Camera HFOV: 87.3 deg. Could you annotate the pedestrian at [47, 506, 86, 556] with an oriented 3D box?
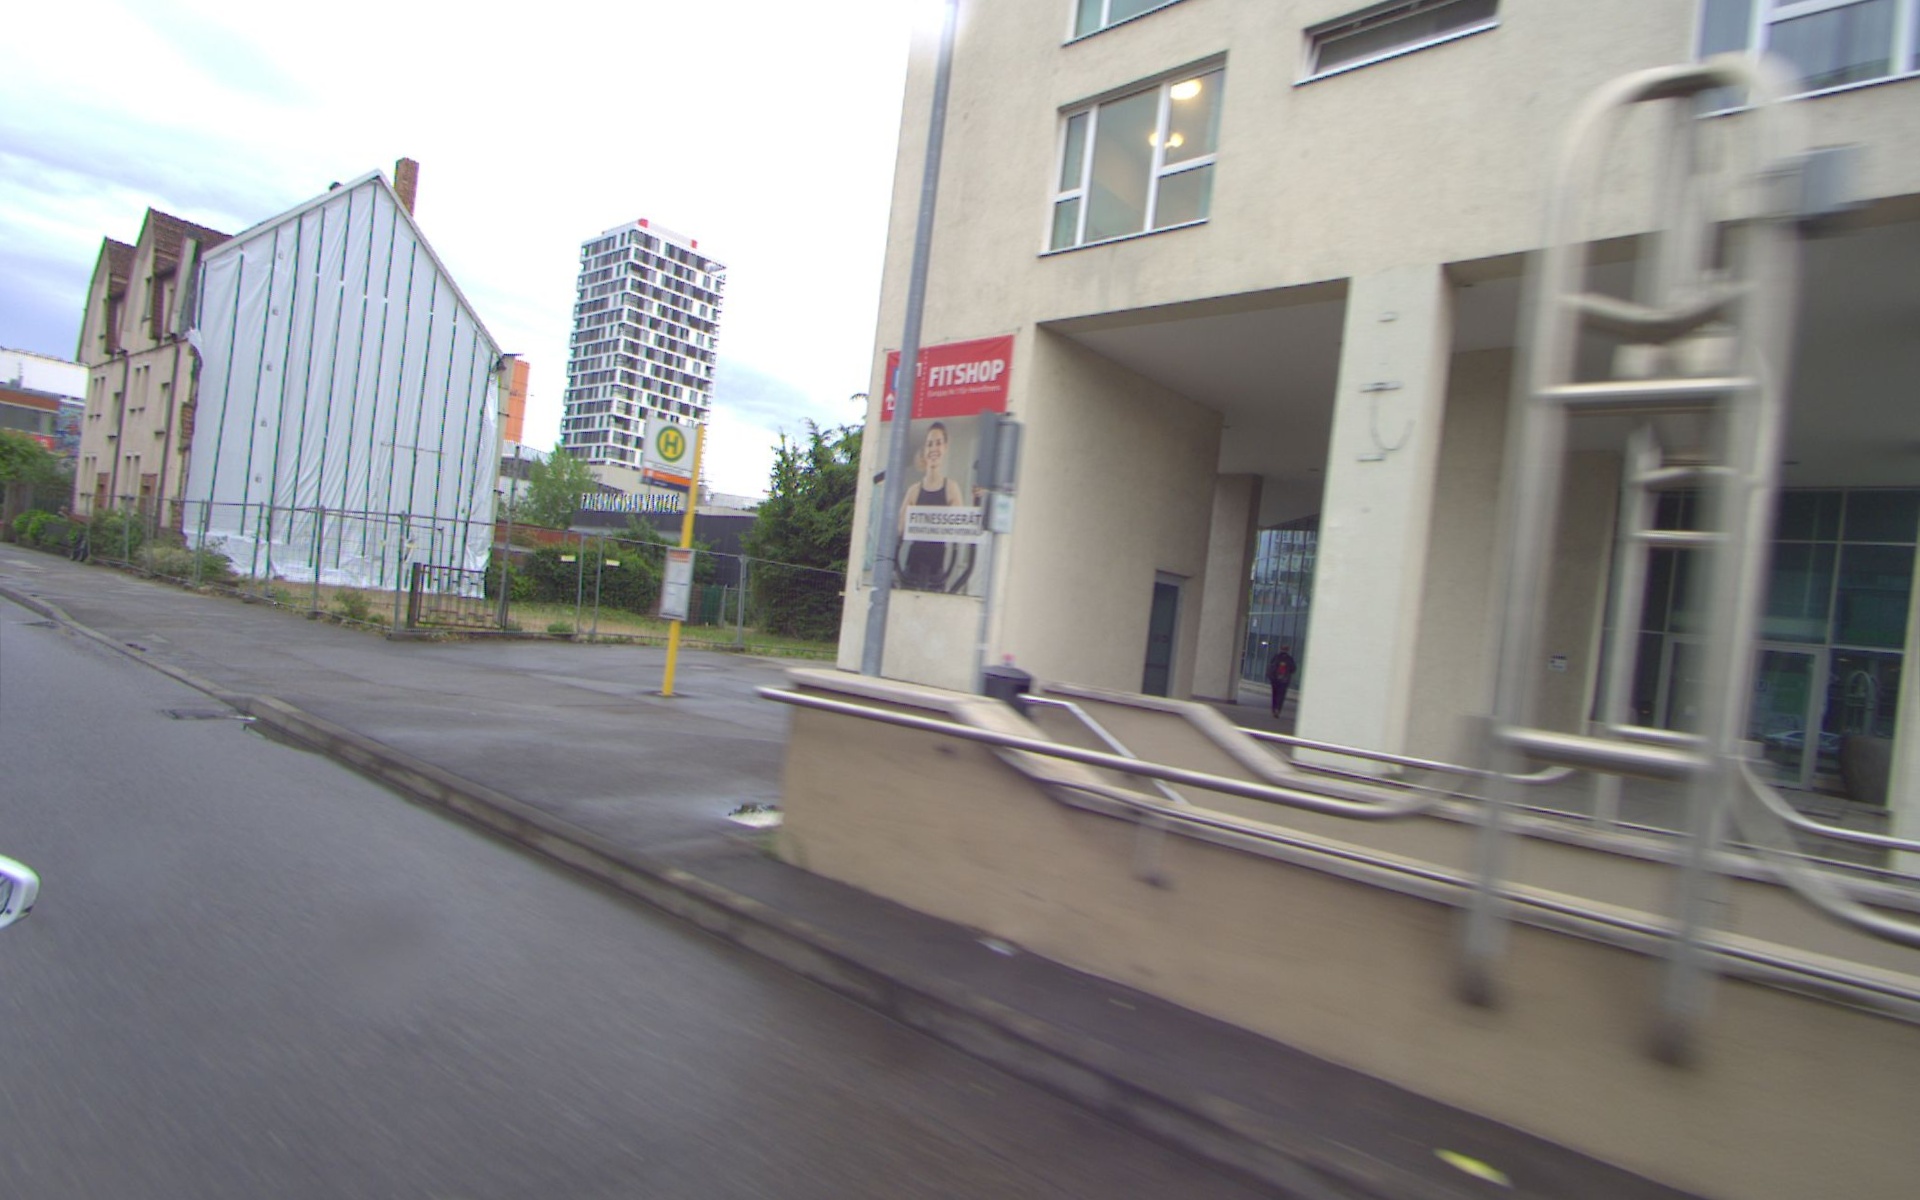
[{"bbox_3d":[-35.083,-2.705,39.511,0.907,1.784,0.759,8,-1,-39],"label":"pedestrian"}]
